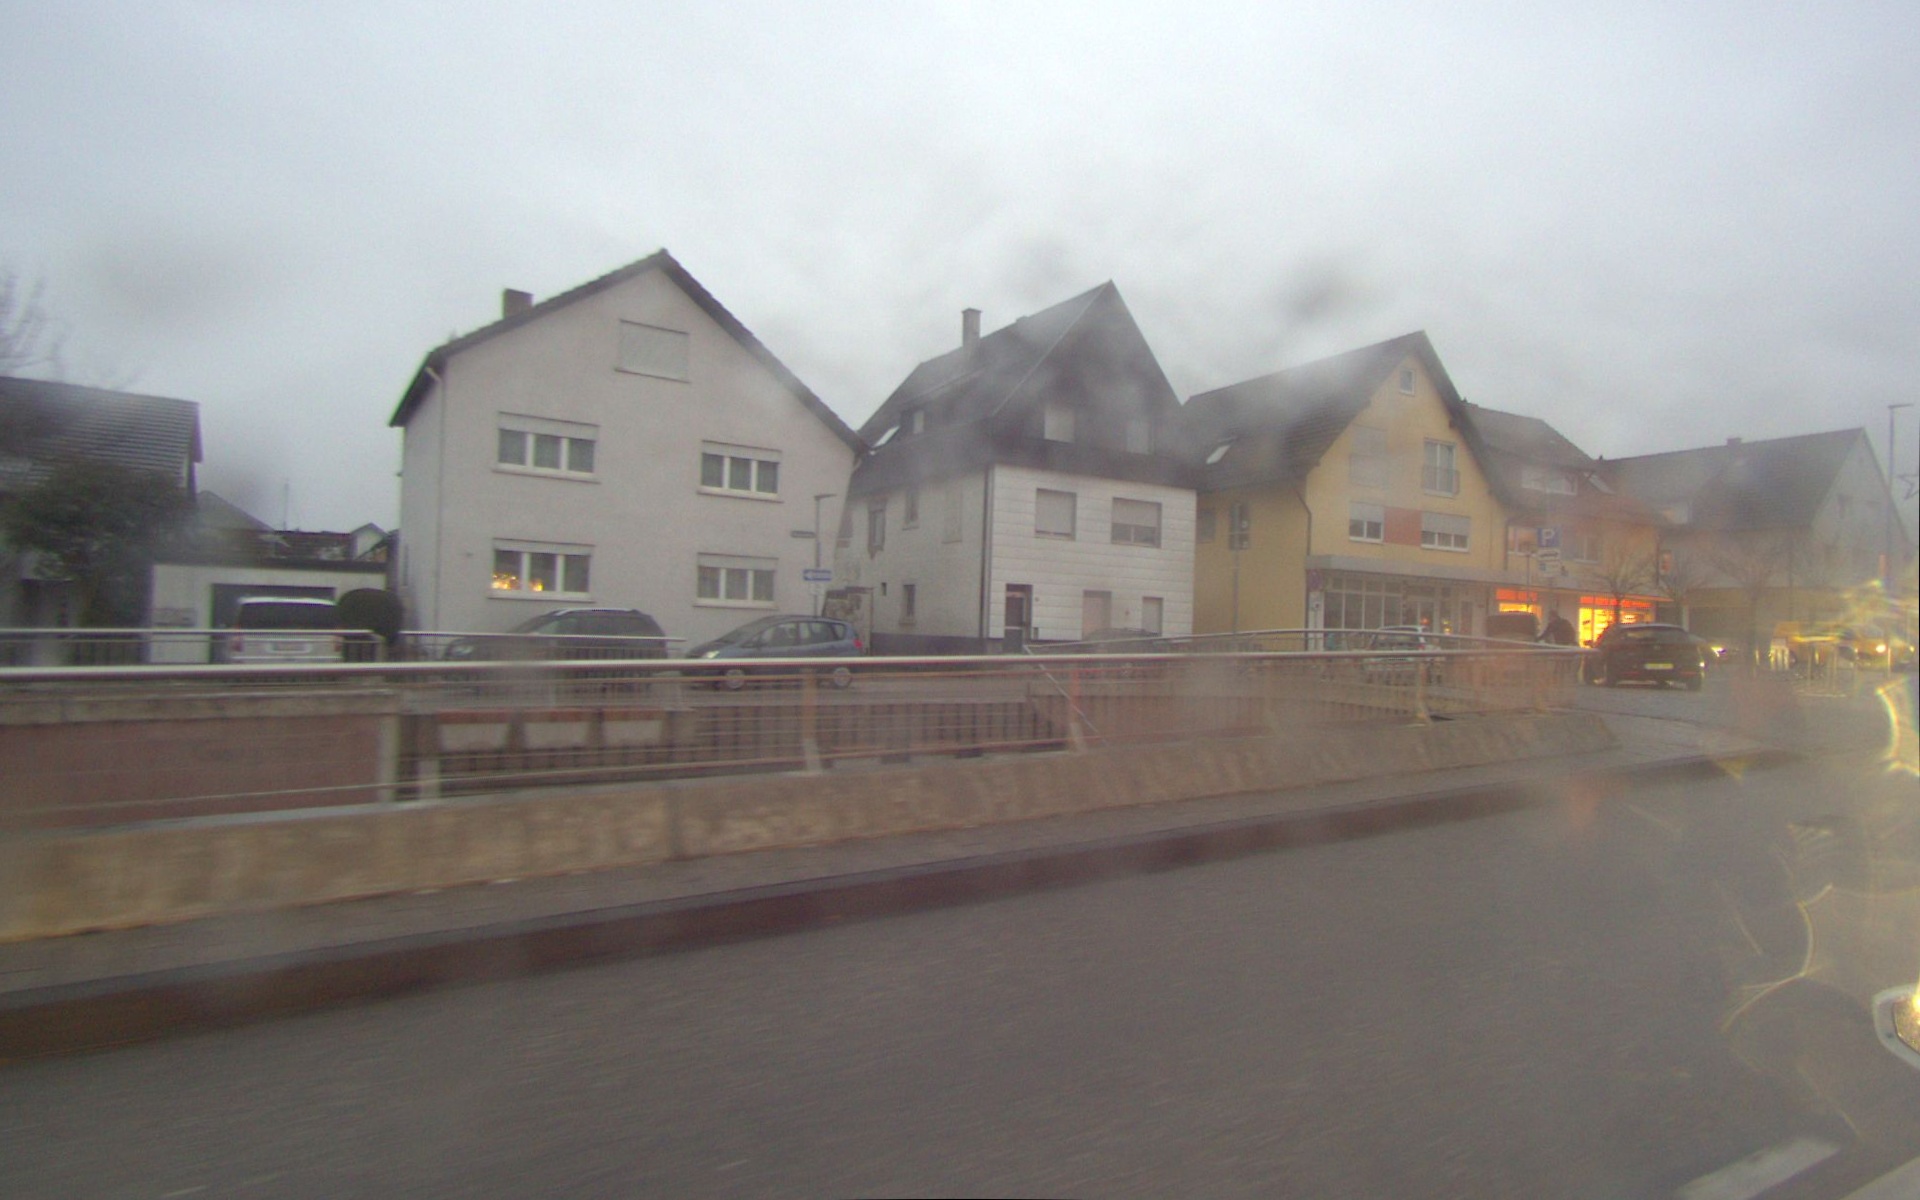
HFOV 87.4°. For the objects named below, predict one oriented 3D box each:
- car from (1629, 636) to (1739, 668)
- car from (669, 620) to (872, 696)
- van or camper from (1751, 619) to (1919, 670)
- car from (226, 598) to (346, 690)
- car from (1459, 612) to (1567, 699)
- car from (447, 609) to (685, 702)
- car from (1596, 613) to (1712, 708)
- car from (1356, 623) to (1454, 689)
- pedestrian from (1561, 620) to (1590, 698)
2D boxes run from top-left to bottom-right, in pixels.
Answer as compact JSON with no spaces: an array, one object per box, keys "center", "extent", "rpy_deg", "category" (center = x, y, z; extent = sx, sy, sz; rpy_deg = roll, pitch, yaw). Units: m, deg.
[{"center":[34.810,2.472,48.386],"extent":[1.708,1.383,3.965],"rpy_deg":[1,-1,-32],"category":"car"},{"center":[-4.298,1.267,22.967],"extent":[4.172,1.583,1.900],"rpy_deg":[1,-1,-33],"category":"car"},{"center":[36.818,1.803,42.222],"extent":[1.967,1.980,5.531],"rpy_deg":[1,-1,-15],"category":"van or camper"},{"center":[-14.087,0.890,20.907],"extent":[1.847,1.716,3.958],"rpy_deg":[2,-2,-37],"category":"car"},{"center":[13.658,1.294,24.707],"extent":[2.009,1.951,4.045],"rpy_deg":[0,-1,33],"category":"car"},{"center":[-7.966,1.082,20.462],"extent":[4.177,1.705,1.897],"rpy_deg":[2,-1,-36],"category":"car"},{"center":[15.784,1.299,22.970],"extent":[2.009,1.951,4.045],"rpy_deg":[0,-1,33],"category":"car"},{"center":[12.096,1.455,27.154],"extent":[1.796,1.634,4.045],"rpy_deg":[0,-1,33],"category":"car"},{"center":[13.905,1.321,22.695],"extent":[0.489,1.724,0.711],"rpy_deg":[-2,-2,34],"category":"pedestrian"}]
